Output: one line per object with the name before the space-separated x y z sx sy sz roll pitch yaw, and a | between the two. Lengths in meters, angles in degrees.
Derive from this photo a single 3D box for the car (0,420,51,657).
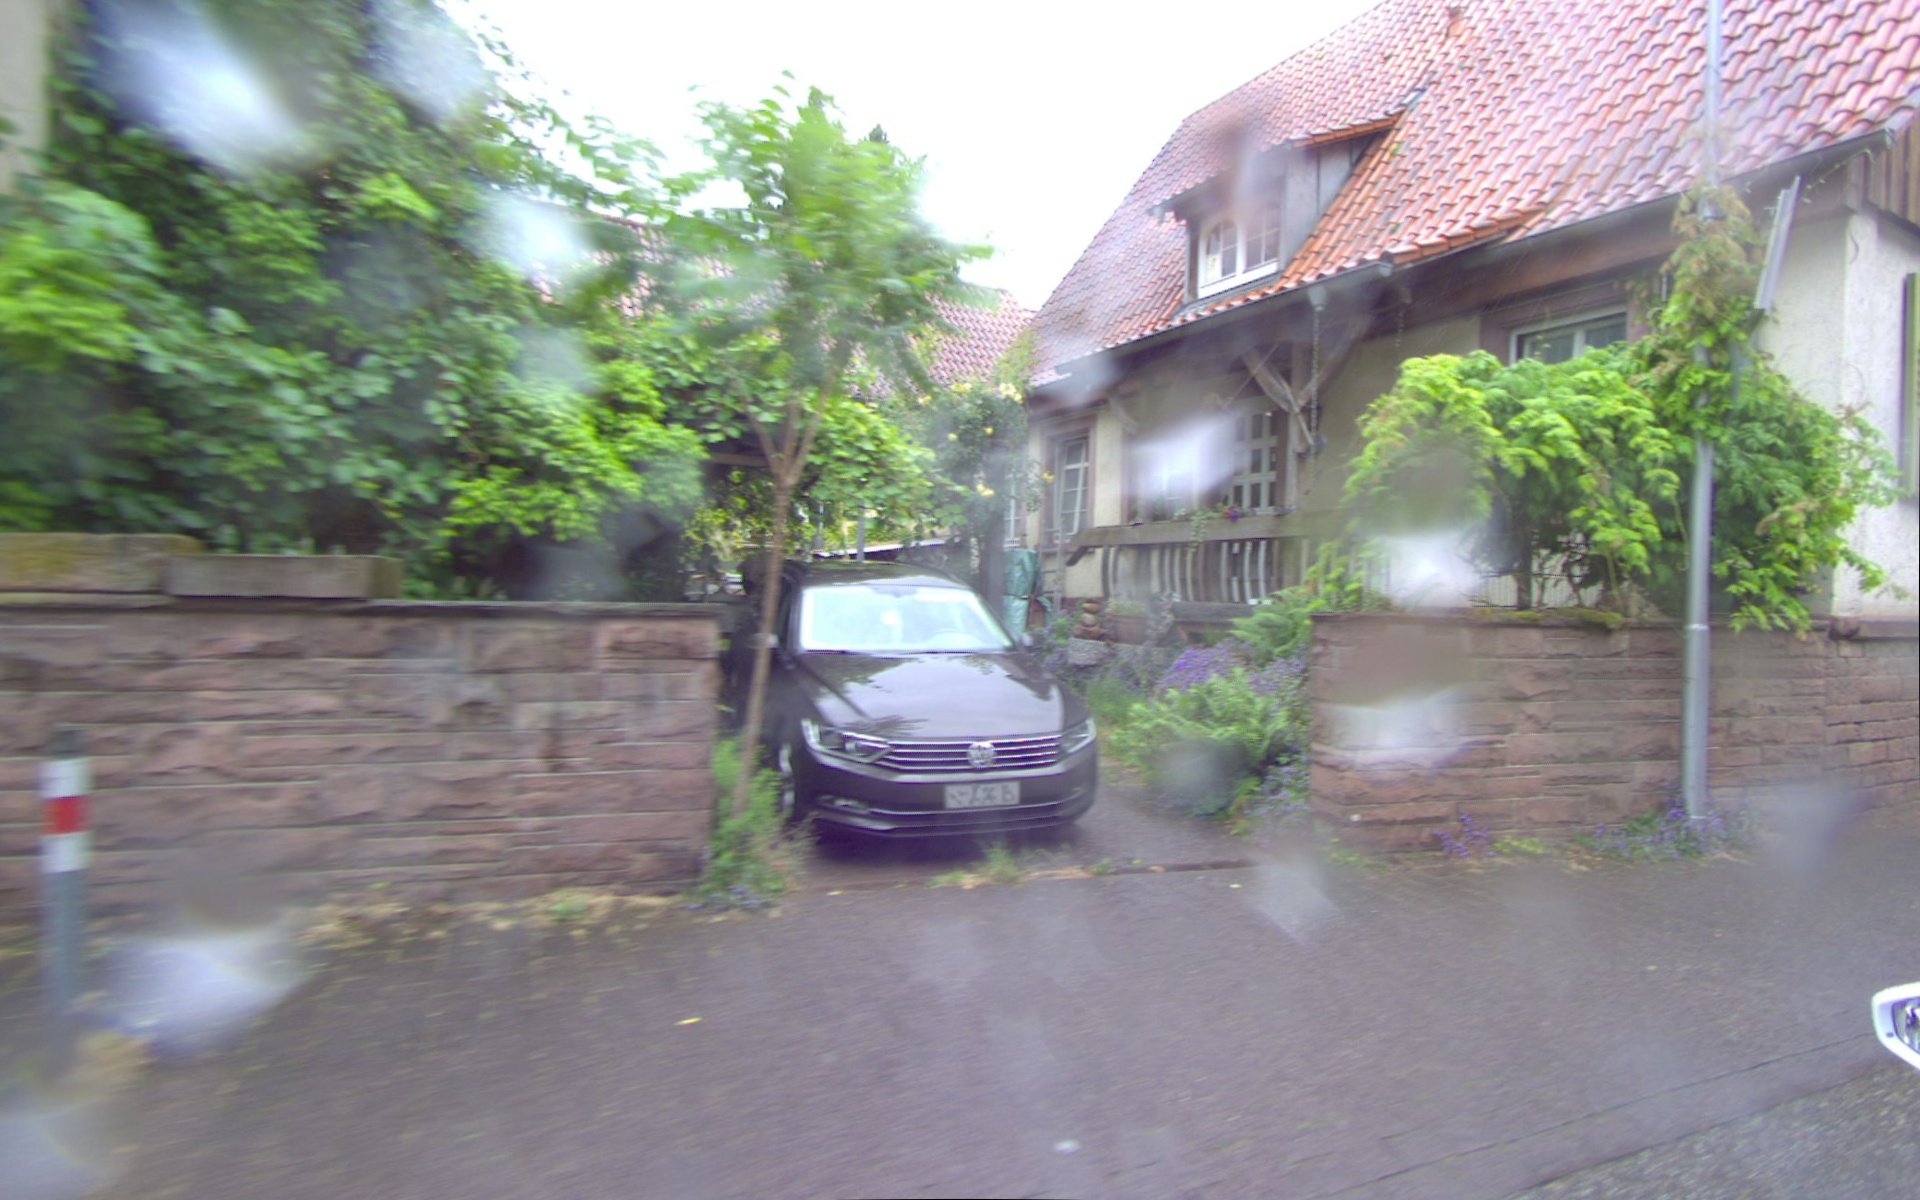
car | -8.350 -0.428 6.950 1.860 1.959 4.211 1 5 -25

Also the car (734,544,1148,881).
car | -0.476 0.466 6.904 1.708 1.445 3.983 2 5 -18
